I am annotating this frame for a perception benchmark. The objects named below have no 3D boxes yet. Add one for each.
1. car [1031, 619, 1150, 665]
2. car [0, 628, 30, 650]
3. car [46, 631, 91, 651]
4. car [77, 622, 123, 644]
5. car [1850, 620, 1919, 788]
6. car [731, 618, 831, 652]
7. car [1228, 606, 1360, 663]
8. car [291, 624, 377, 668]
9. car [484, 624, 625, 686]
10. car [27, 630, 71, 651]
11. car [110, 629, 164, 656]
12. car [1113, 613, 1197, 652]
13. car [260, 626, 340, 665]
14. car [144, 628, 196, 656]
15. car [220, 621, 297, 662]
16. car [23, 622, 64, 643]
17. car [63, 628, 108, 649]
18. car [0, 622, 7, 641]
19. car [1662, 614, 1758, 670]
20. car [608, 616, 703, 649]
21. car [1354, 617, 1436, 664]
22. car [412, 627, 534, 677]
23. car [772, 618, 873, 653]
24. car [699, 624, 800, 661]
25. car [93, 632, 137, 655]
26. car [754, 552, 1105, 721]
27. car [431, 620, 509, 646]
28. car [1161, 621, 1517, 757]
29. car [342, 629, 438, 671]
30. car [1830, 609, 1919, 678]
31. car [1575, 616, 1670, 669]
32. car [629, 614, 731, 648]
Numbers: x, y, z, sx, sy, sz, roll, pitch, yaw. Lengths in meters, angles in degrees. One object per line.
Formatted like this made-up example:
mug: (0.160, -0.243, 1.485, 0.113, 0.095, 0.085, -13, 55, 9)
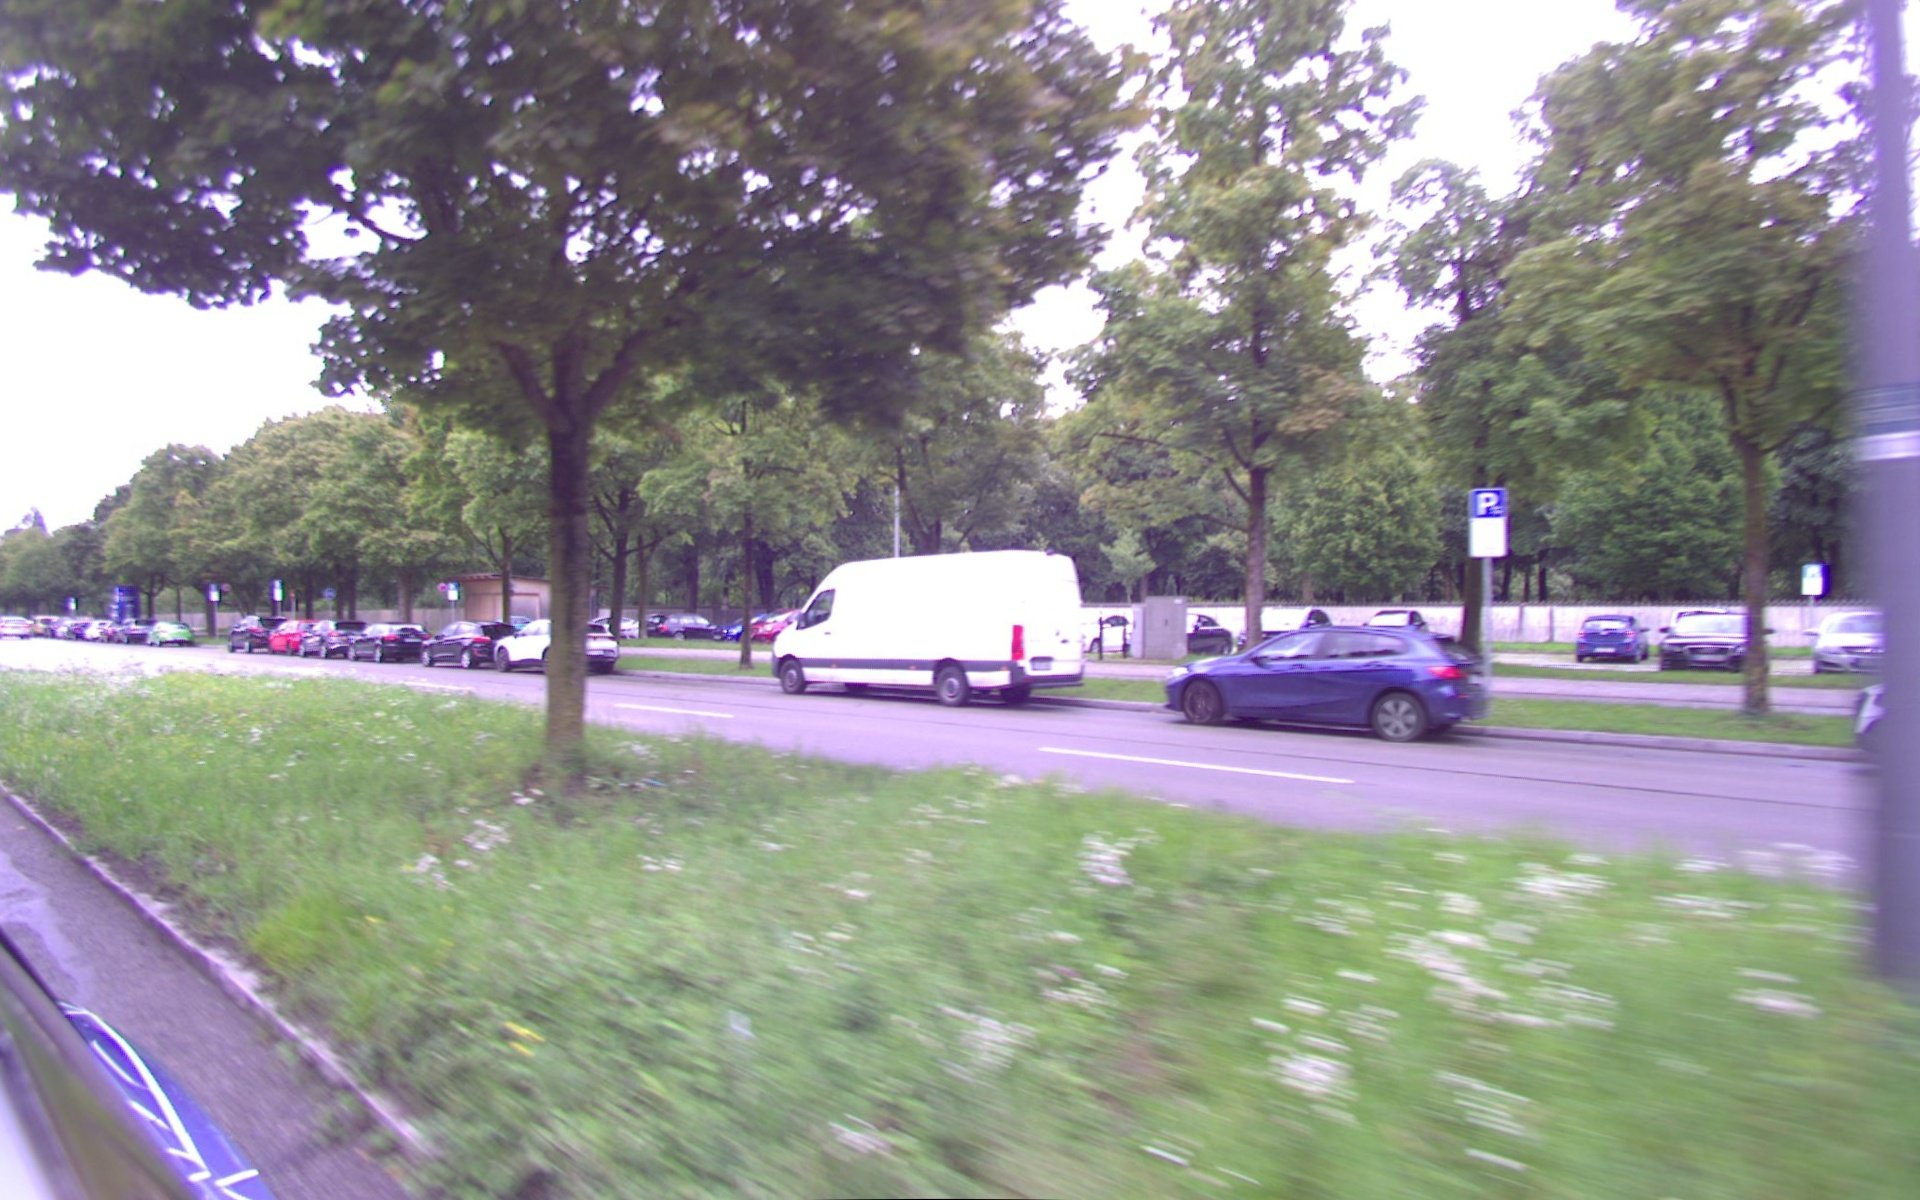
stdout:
car: (4.212, 1.309, 32.356, 1.815, 1.349, 3.943, -2, -2, 43)
car: (-71.511, 2.946, 76.111, 4.400, 1.612, 1.831, -1, -4, 41)
car: (-68.247, 3.127, 77.465, 4.296, 1.481, 1.804, -1, -3, 39)
car: (-59.724, 2.295, 70.227, 4.258, 1.488, 1.802, -2, -4, 42)
car: (10.634, 0.965, 8.890, 4.138, 1.502, 1.839, 0, 0, 40)
car: (-7.282, 1.417, 41.468, 1.737, 1.293, 3.952, -1, -1, 35)
car: (9.151, 0.899, 27.581, 3.941, 1.449, 1.816, 1, -2, -45)
car: (-24.411, 1.753, 39.431, 4.112, 1.611, 1.802, -1, -2, 42)
car: (-11.325, 1.483, 28.160, 4.295, 1.539, 1.803, 0, -2, 40)
car: (-73.108, 3.214, 81.212, 4.037, 1.628, 1.982, -1, -3, 39)
car: (-51.368, 2.613, 63.137, 4.453, 1.643, 1.803, -2, -2, 41)
car: (8.765, 1.410, 45.223, 3.941, 1.666, 1.771, 1, -2, -45)
car: (-28.139, 1.894, 43.134, 3.806, 1.490, 1.803, 0, 0, 40)
car: (-44.925, 2.368, 57.548, 3.999, 1.511, 1.623, -2, -3, 42)
car: (-31.826, 1.825, 45.896, 4.236, 1.712, 1.803, 0, 0, 40)
car: (-77.556, 2.759, 85.644, 4.528, 1.784, 1.839, -1, -3, 39)
car: (-63.990, 2.795, 74.050, 3.783, 1.457, 1.804, -1, -4, 39)
car: (-104.948, 3.462, 109.701, 3.997, 2.029, 1.973, -1, -1, 40)
car: (23.132, 1.246, 31.159, 3.941, 1.608, 1.771, 1, -2, -45)
car: (-14.584, 1.527, 48.551, 1.998, 1.453, 3.947, -1, -1, 40)
car: (15.938, 1.446, 36.999, 1.768, 1.608, 3.948, -1, -2, 39)
car: (-15.193, 1.593, 31.510, 3.994, 1.459, 1.804, -1, -3, 38)
car: (-5.288, 1.339, 39.417, 1.736, 1.293, 3.954, -1, -1, 34)
car: (-8.996, 1.789, 43.503, 1.995, 1.453, 3.952, -1, -1, 35)
car: (-55.764, 2.851, 66.775, 3.685, 1.433, 1.632, -2, -4, 42)
car: (-0.838, 0.688, 19.112, 7.101, 2.664, 2.117, -2, -3, 41)
car: (-27.766, 1.873, 57.467, 3.793, 1.420, 1.865, 0, -1, -19)
car: (5.092, 1.082, 13.899, 4.248, 1.502, 1.839, 0, 0, 40)
car: (-20.200, 1.741, 35.802, 4.000, 1.420, 1.801, -1, -3, 43)
car: (18.163, 0.804, 19.594, 1.784, 1.219, 3.942, -2, -2, 44)
car: (21.338, 1.319, 32.537, 3.941, 1.608, 1.771, 1, -2, -45)
car: (-12.713, 1.378, 46.115, 1.997, 1.453, 4.095, -1, -1, 38)
